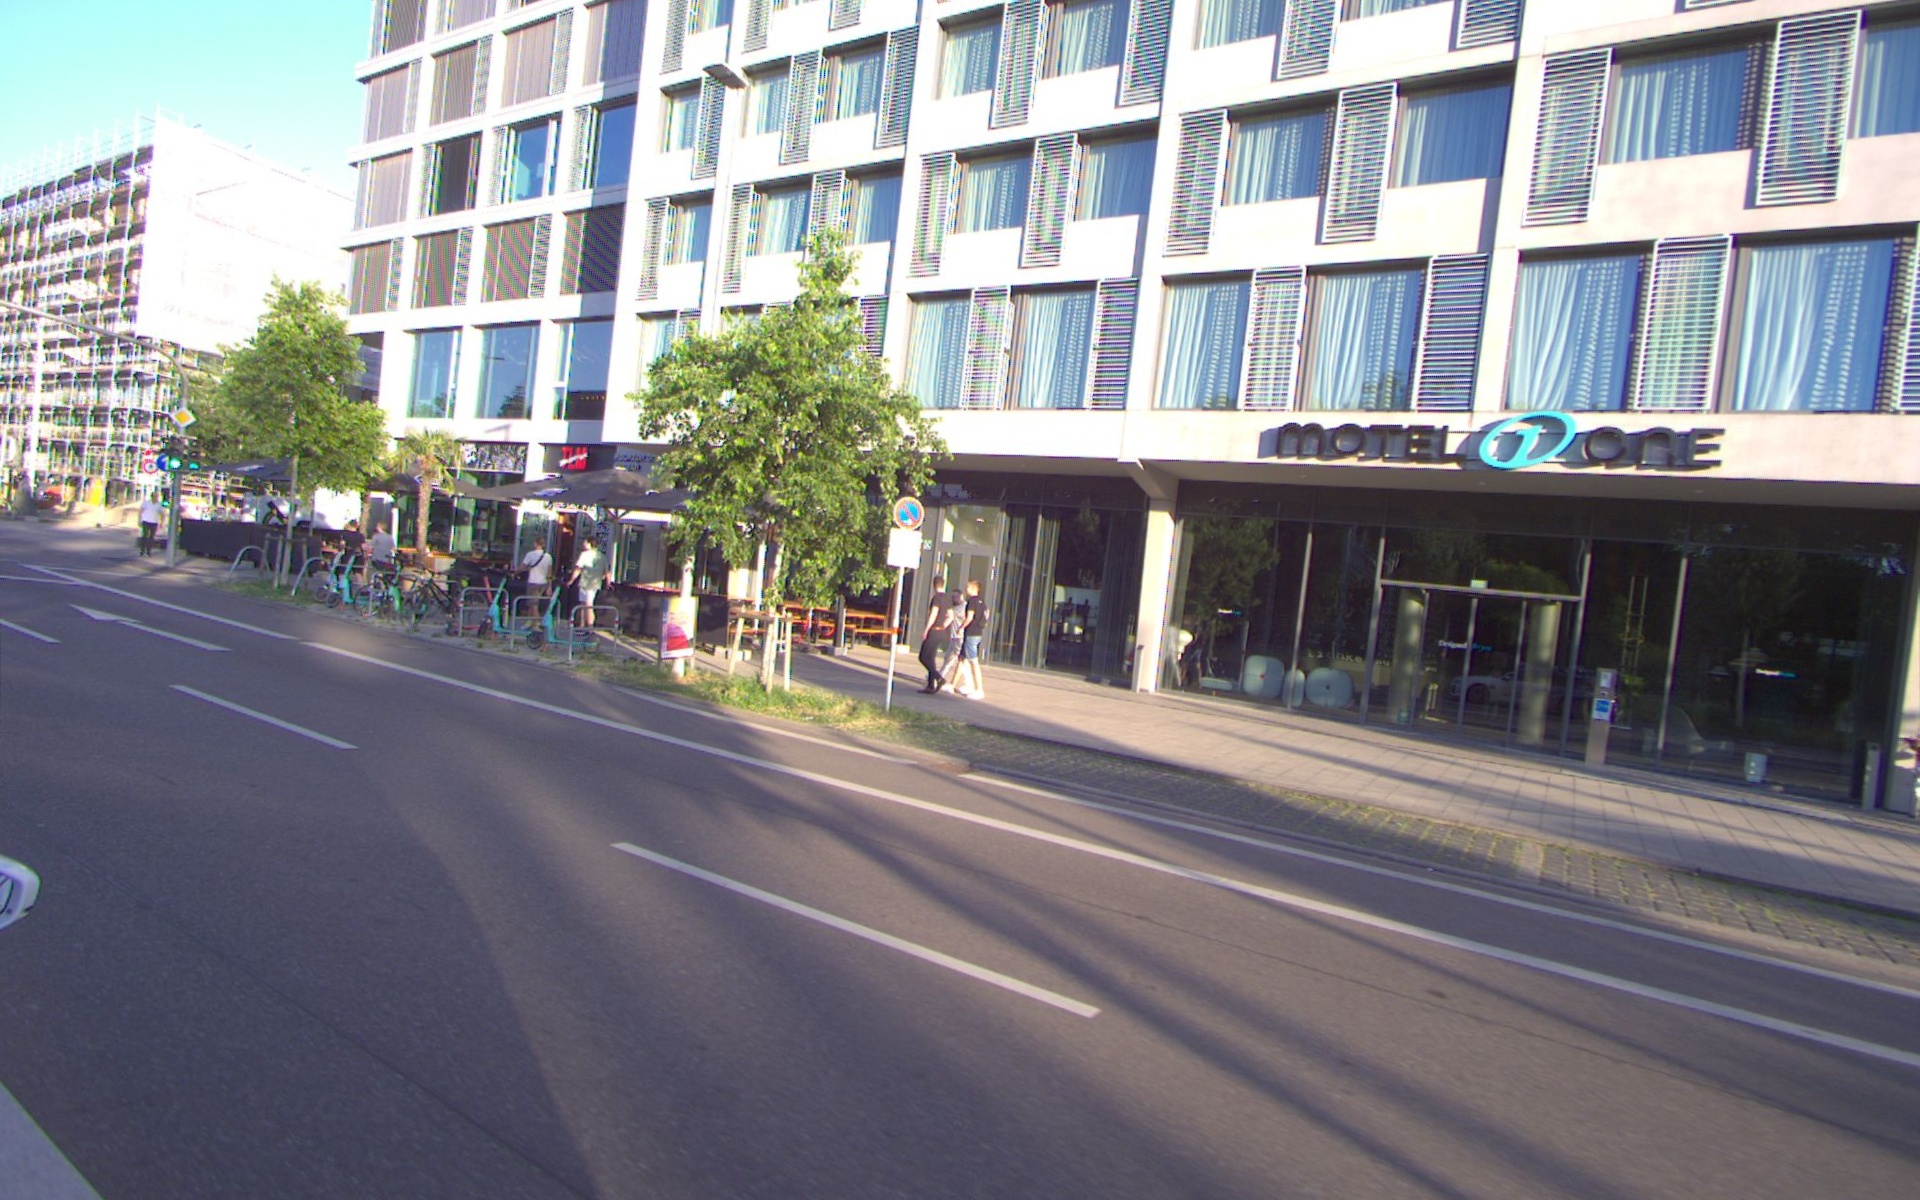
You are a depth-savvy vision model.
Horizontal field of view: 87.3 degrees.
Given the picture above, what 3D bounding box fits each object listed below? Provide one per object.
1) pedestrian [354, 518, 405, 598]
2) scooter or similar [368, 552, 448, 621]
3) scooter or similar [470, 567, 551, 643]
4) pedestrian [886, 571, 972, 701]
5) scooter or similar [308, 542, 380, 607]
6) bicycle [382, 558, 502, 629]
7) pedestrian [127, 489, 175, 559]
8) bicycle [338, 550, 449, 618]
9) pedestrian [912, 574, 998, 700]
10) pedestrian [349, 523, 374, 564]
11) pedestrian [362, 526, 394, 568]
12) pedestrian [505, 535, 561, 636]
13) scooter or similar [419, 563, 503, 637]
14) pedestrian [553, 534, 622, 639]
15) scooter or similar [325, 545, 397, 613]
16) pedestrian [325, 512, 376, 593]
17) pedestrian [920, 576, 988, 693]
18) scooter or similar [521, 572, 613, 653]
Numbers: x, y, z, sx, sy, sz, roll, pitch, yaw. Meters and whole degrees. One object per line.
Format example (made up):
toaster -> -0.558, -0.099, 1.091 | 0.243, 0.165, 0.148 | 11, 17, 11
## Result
pedestrian -> -13.590, -0.980, 23.556 | 0.748, 1.758, 0.685 | 8, 4, 31
scooter or similar -> -10.451, -0.237, 19.089 | 0.472, 1.218, 1.210 | 7, 3, 27
scooter or similar -> -7.794, 0.095, 17.472 | 1.123, 1.230, 0.525 | 3, 2, -43
pedestrian -> -0.484, 0.536, 15.527 | 0.927, 1.874, 0.741 | 8, 4, 41
scooter or similar -> -12.709, -0.512, 20.770 | 0.588, 1.240, 1.052 | 7, 3, 28
bicycle -> -9.433, -0.097, 18.399 | 0.598, 1.198, 1.847 | 8, 3, 31
pedestrian -> -22.829, -2.138, 28.388 | 0.667, 1.872, 0.769 | 8, 2, 32
bicycle -> -10.881, -0.281, 19.399 | 0.558, 1.210, 1.795 | 7, 3, 27
pedestrian -> -0.084, 0.573, 15.886 | 0.927, 1.849, 0.754 | 8, 4, 41
pedestrian -> -20.653, -1.943, 34.701 | 0.609, 1.337, 0.613 | 2, 5, -40
pedestrian -> -19.735, -1.799, 34.110 | 0.705, 1.337, 0.743 | 9, 5, 44
pedestrian -> -8.043, -0.278, 18.955 | 0.817, 1.810, 0.574 | 7, 3, 42
scooter or similar -> -8.659, 0.009, 17.486 | 0.501, 1.207, 1.155 | 6, 2, 33
pedestrian -> -7.150, -0.252, 19.294 | 0.854, 1.913, 0.822 | 6, 3, 40
scooter or similar -> -11.865, -0.410, 19.938 | 0.542, 1.240, 1.058 | 8, 4, 41
pedestrian -> -13.816, -1.068, 22.798 | 0.677, 1.725, 0.653 | 8, 4, 31
pedestrian -> -0.105, 0.554, 16.648 | 0.766, 1.837, 0.617 | 8, 5, 41
scooter or similar -> -6.543, 0.214, 16.756 | 1.283, 1.235, 0.530 | 3, 3, -35
